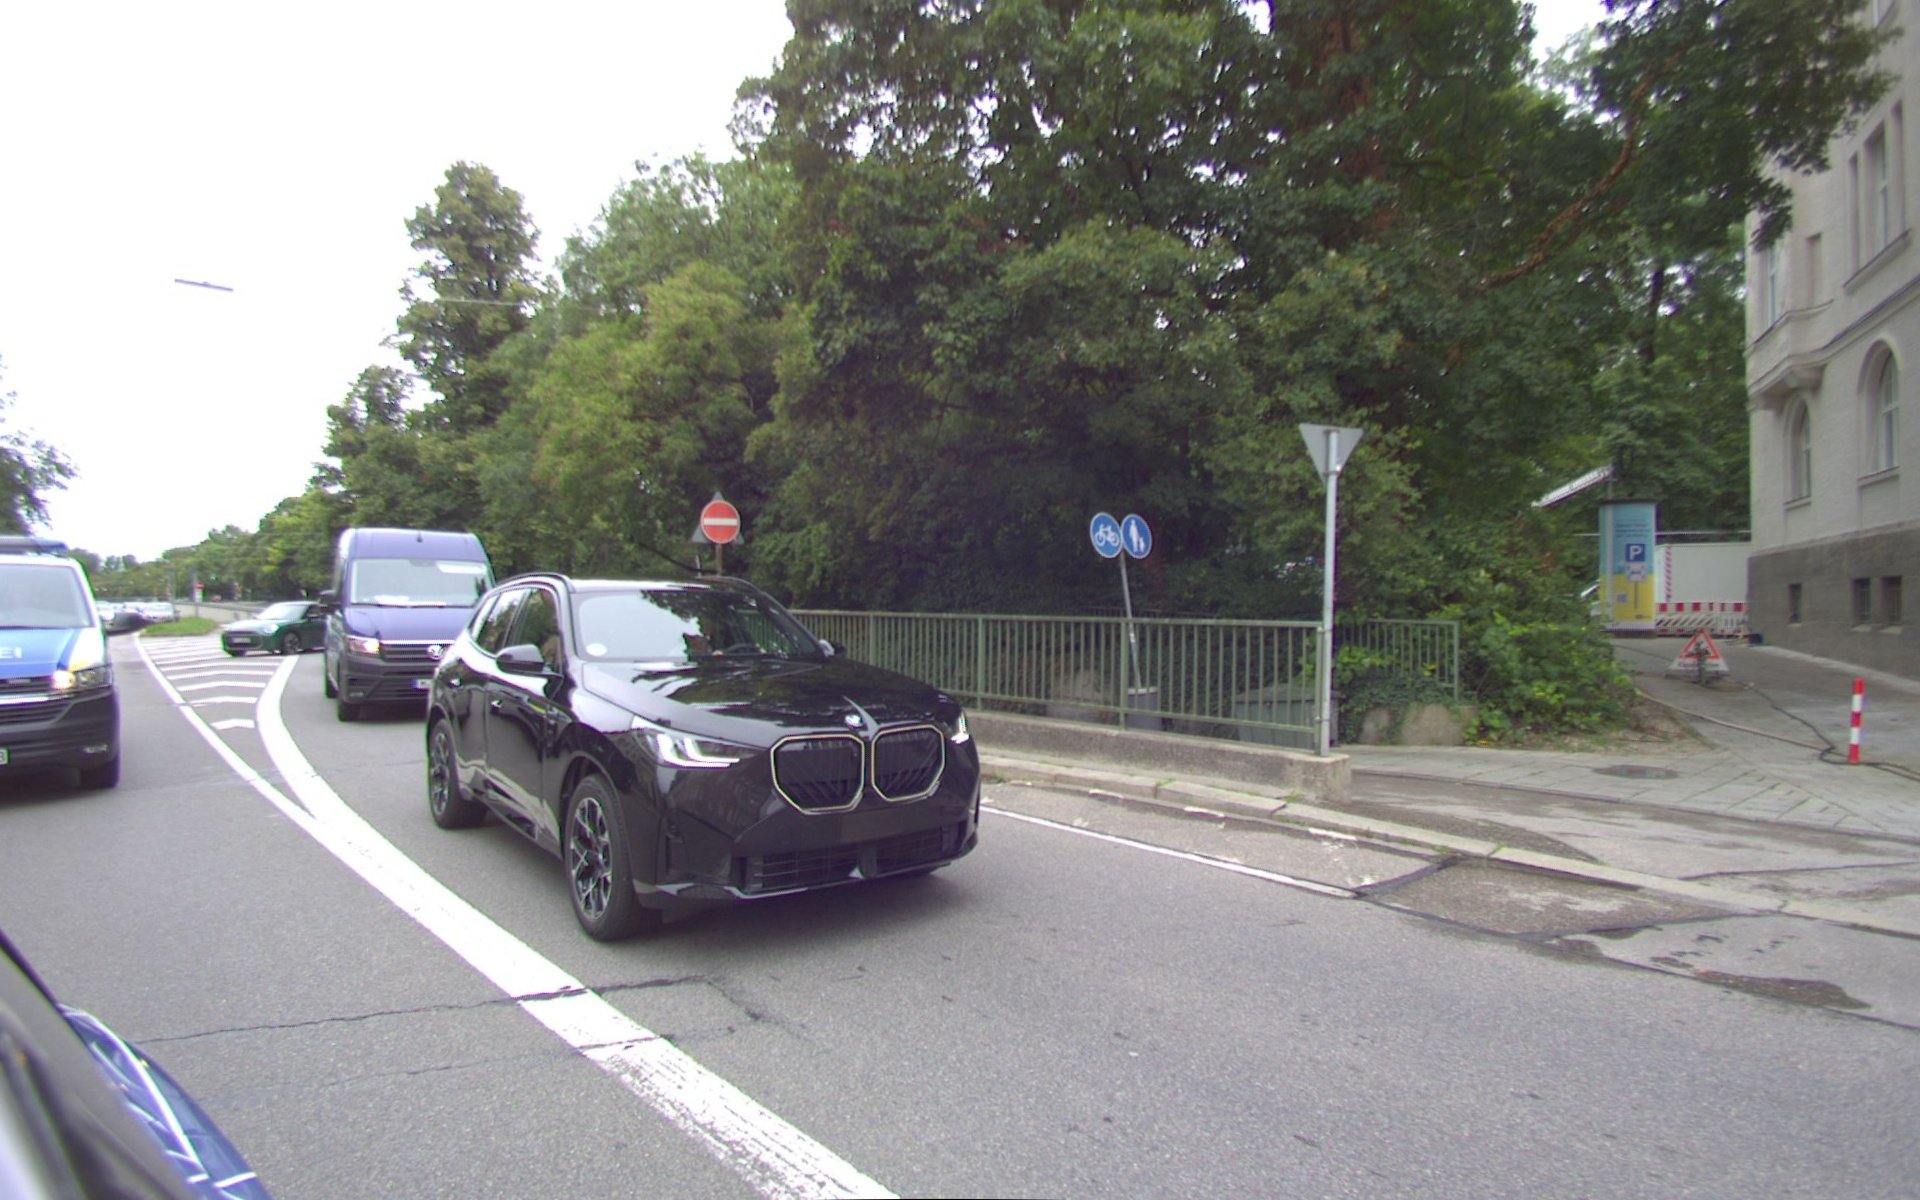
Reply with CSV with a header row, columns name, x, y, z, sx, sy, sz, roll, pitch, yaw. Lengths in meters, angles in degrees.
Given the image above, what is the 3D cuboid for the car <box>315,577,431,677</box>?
name,x,y,z,sx,sy,sz,roll,pitch,yaw
car,-13.383,0.538,22.917,1.974,1.951,5.822,-2,0,-32

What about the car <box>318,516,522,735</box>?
name,x,y,z,sx,sy,sz,roll,pitch,yaw
car,-8.067,0.269,14.743,1.974,2.510,6.249,0,0,-34

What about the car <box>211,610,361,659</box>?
name,x,y,z,sx,sy,sz,roll,pitch,yaw
car,-18.589,0.923,28.100,1.479,1.223,3.603,0,0,8

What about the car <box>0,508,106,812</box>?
name,x,y,z,sx,sy,sz,roll,pitch,yaw
car,-8.842,0.453,8.890,1.800,2.115,5.639,-1,0,-43

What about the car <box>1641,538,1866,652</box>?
name,x,y,z,sx,sy,sz,roll,pitch,yaw
car,23.787,-0.129,30.622,4.768,3.198,2.468,0,-1,20

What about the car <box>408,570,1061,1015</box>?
name,x,y,z,sx,sy,sz,roll,pitch,yaw
car,-1.632,0.690,5.854,1.892,1.577,4.301,1,-1,-40

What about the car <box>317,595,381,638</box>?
name,x,y,z,sx,sy,sz,roll,pitch,yaw
car,-27.216,0.691,45.015,2.278,1.742,5.229,-2,0,-32

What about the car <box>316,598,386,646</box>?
name,x,y,z,sx,sy,sz,roll,pitch,yaw
car,-22.855,0.791,37.912,2.070,1.602,5.584,-2,1,-32
